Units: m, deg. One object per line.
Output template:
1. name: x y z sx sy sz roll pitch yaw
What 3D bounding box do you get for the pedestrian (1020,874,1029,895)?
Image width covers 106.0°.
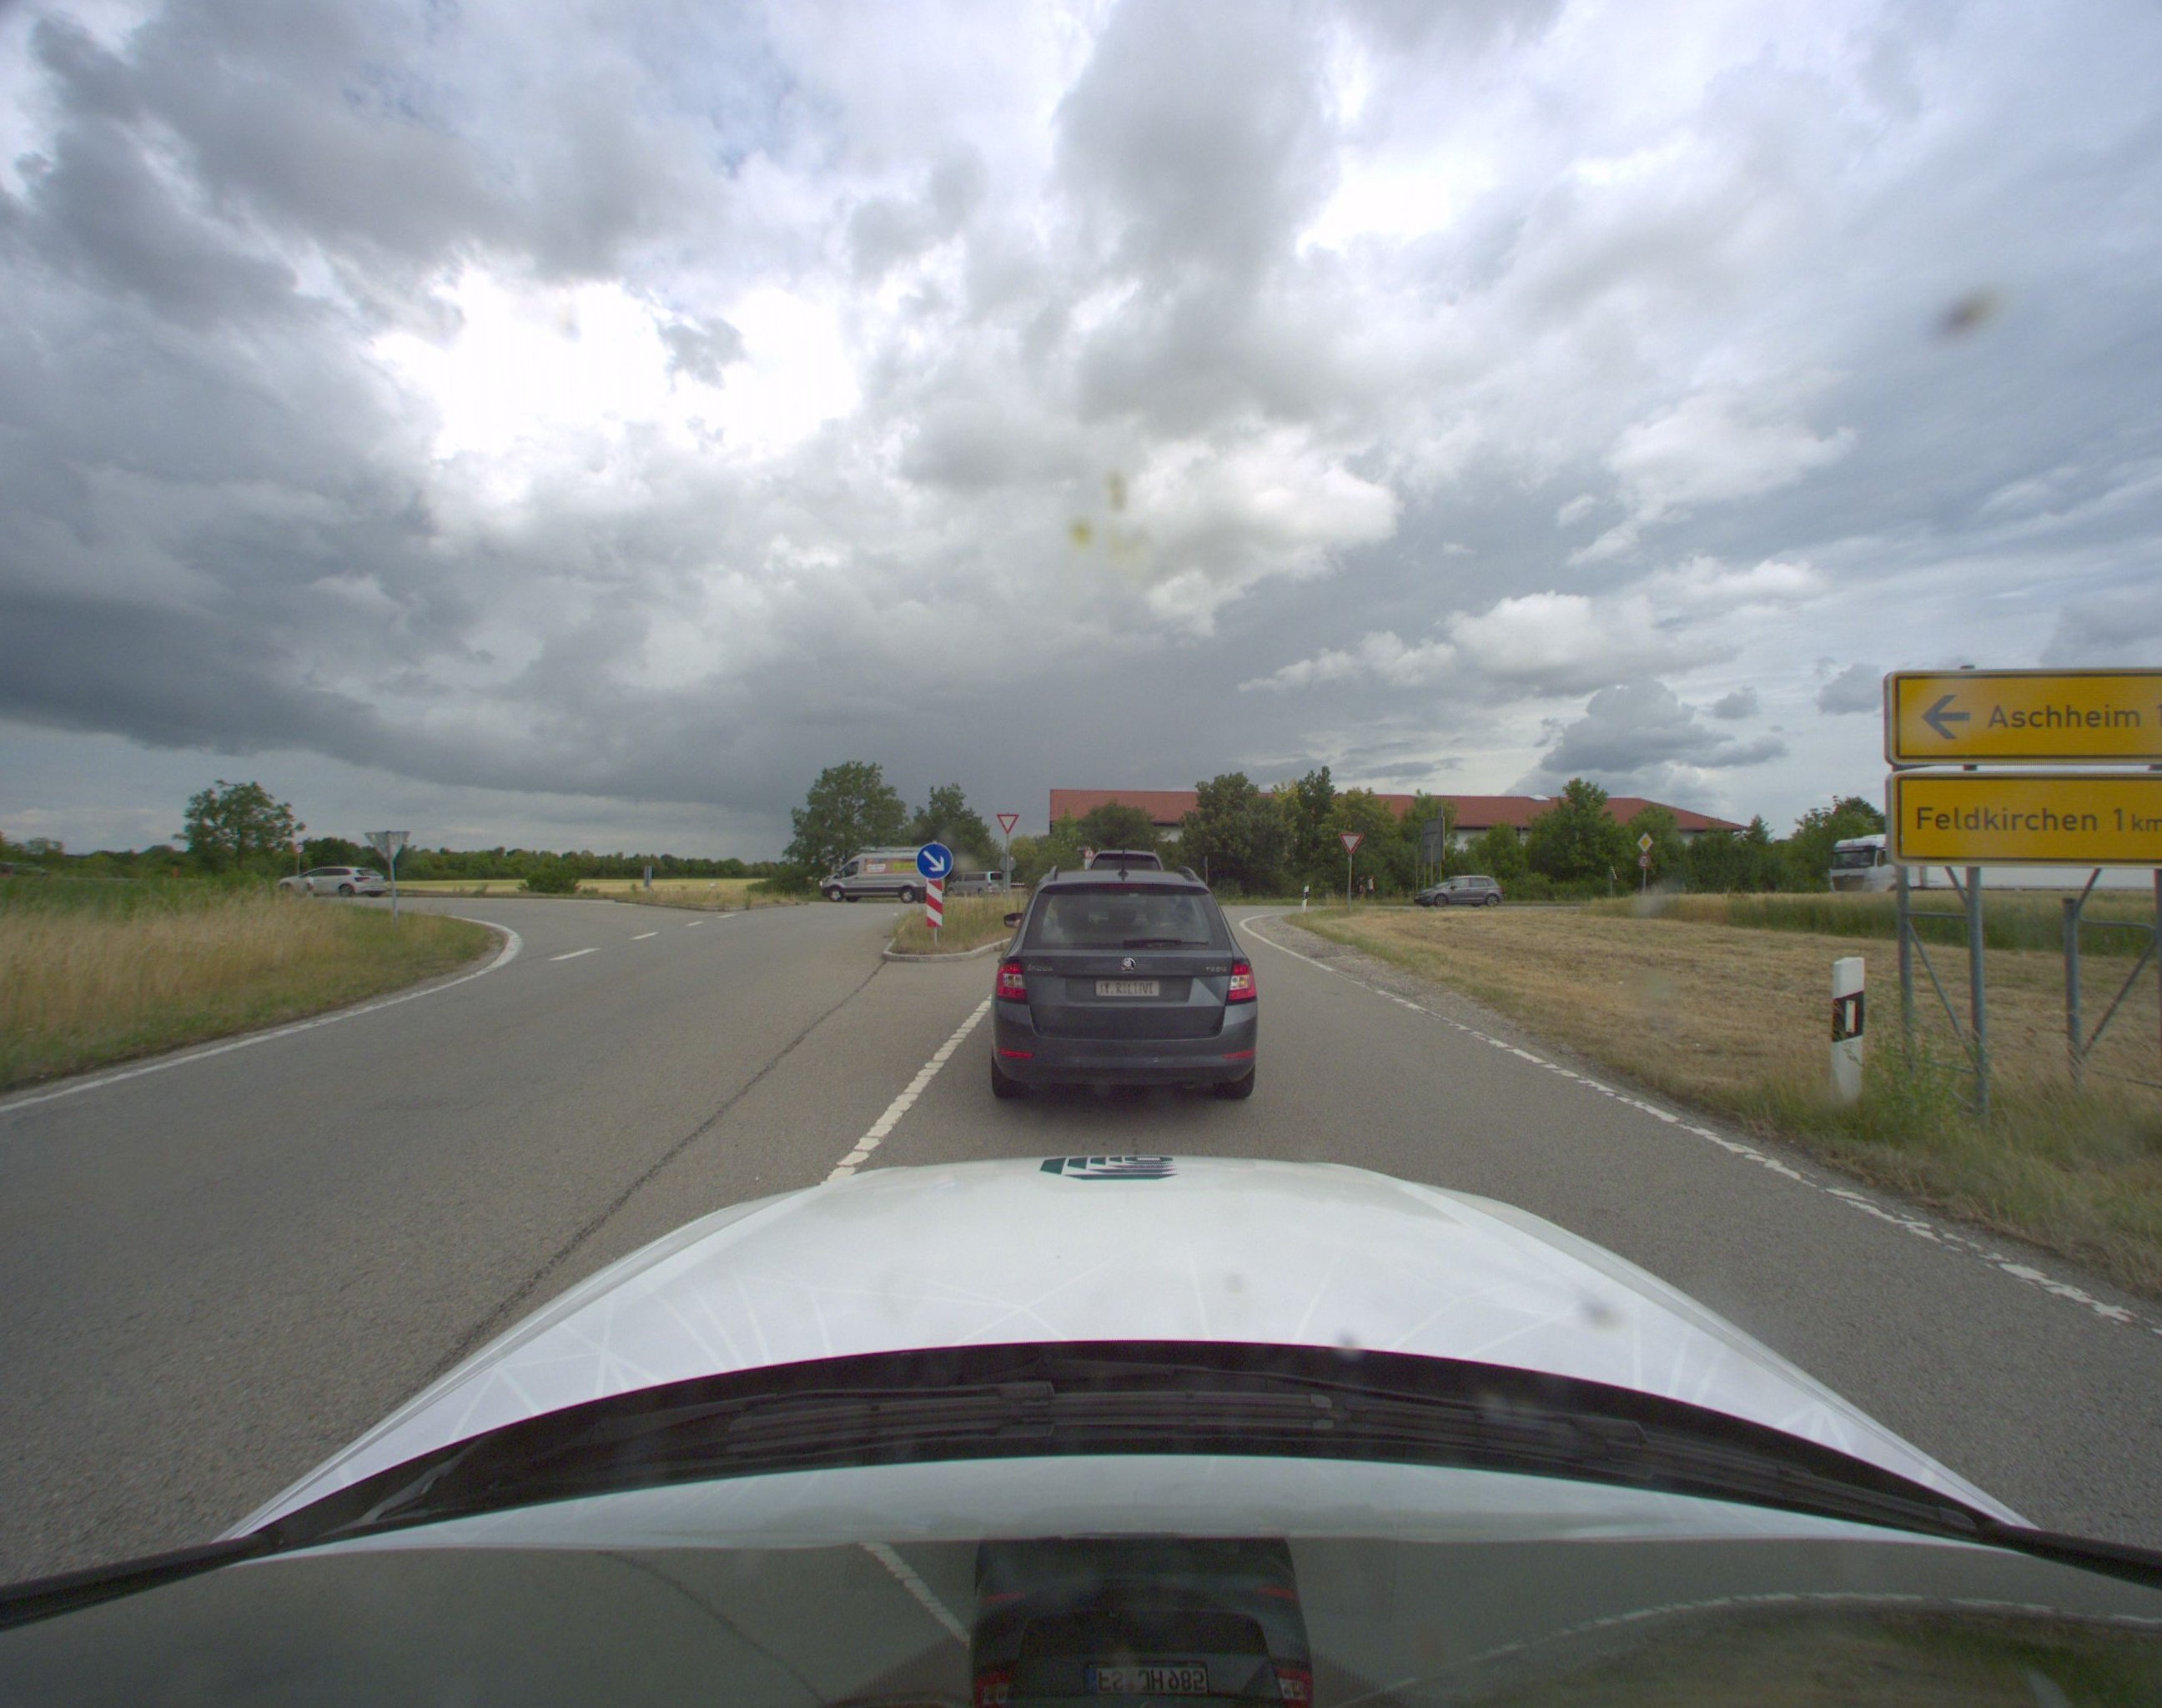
1. pedestrian: -4.659 2.486 67.058 0.578 1.682 0.569 -1 -1 24

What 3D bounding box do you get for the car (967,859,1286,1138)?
1. car: 0.295 0.781 6.141 1.670 1.463 3.709 0 -1 2

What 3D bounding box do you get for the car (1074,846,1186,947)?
1. car: 1.032 0.840 16.862 1.985 1.775 4.647 0 -2 4

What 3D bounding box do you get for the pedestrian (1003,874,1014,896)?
1. pedestrian: -5.651 2.433 63.712 0.523 1.726 0.645 -1 -1 36

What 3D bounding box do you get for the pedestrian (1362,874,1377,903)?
1. pedestrian: 17.053 2.052 48.162 0.625 1.682 0.529 0 -1 -7

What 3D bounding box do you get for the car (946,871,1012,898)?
1. car: -8.048 2.355 64.057 4.851 2.014 2.357 -1 -1 37

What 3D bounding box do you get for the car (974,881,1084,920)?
1. car: -2.099 1.773 31.949 4.300 1.345 1.692 -1 -1 39

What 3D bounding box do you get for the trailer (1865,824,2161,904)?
1. trailer: 49.902 0.588 43.320 13.807 4.015 3.125 0 -3 -3

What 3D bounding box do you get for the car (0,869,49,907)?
1. car: -49.758 1.530 36.530 3.984 1.662 1.995 0 -1 -8

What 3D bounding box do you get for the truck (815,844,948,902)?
1. truck: -9.707 0.923 39.814 5.986 2.703 2.072 -1 -1 11

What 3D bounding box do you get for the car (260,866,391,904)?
1. car: -34.987 1.432 37.828 3.984 1.662 1.995 0 -1 -8

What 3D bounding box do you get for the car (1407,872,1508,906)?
1. car: 19.032 1.767 41.328 4.198 1.601 1.999 -1 -1 -1

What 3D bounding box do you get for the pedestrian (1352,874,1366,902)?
1. pedestrian: 16.853 2.040 49.353 0.625 1.682 0.529 0 -1 -7

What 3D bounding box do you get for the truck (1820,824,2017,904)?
1. truck: 44.057 0.590 42.993 7.265 4.015 3.125 0 -3 -3
